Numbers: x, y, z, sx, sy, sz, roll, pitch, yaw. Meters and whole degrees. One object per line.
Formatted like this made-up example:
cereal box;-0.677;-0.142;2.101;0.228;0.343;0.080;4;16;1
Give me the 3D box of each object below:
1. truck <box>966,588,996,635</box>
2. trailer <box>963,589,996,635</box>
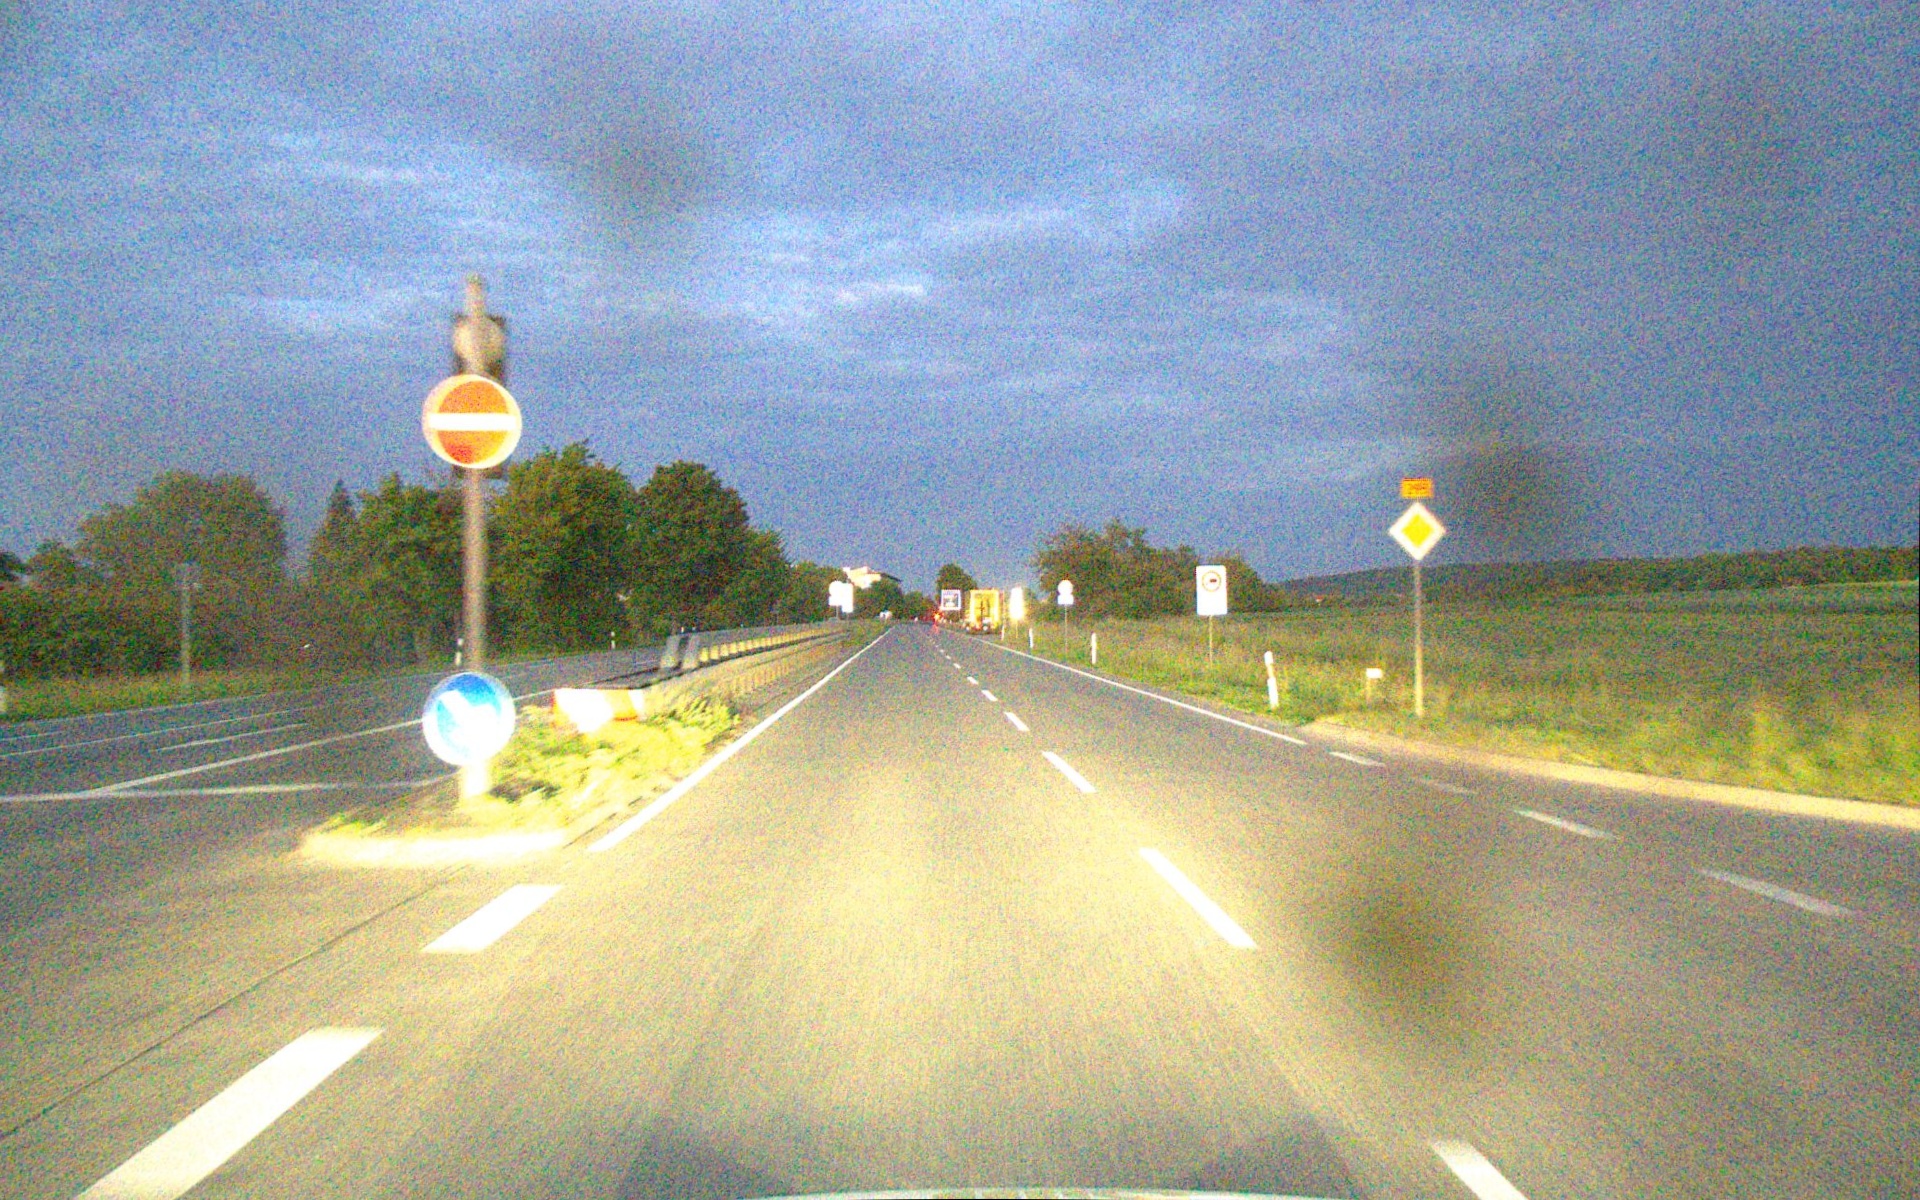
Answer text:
truck;1.926;1.057;151.193;2.527;4.142;6.128;1;0;-1
trailer;1.775;1.138;158.336;2.569;4.176;12.931;0;-1;-2
